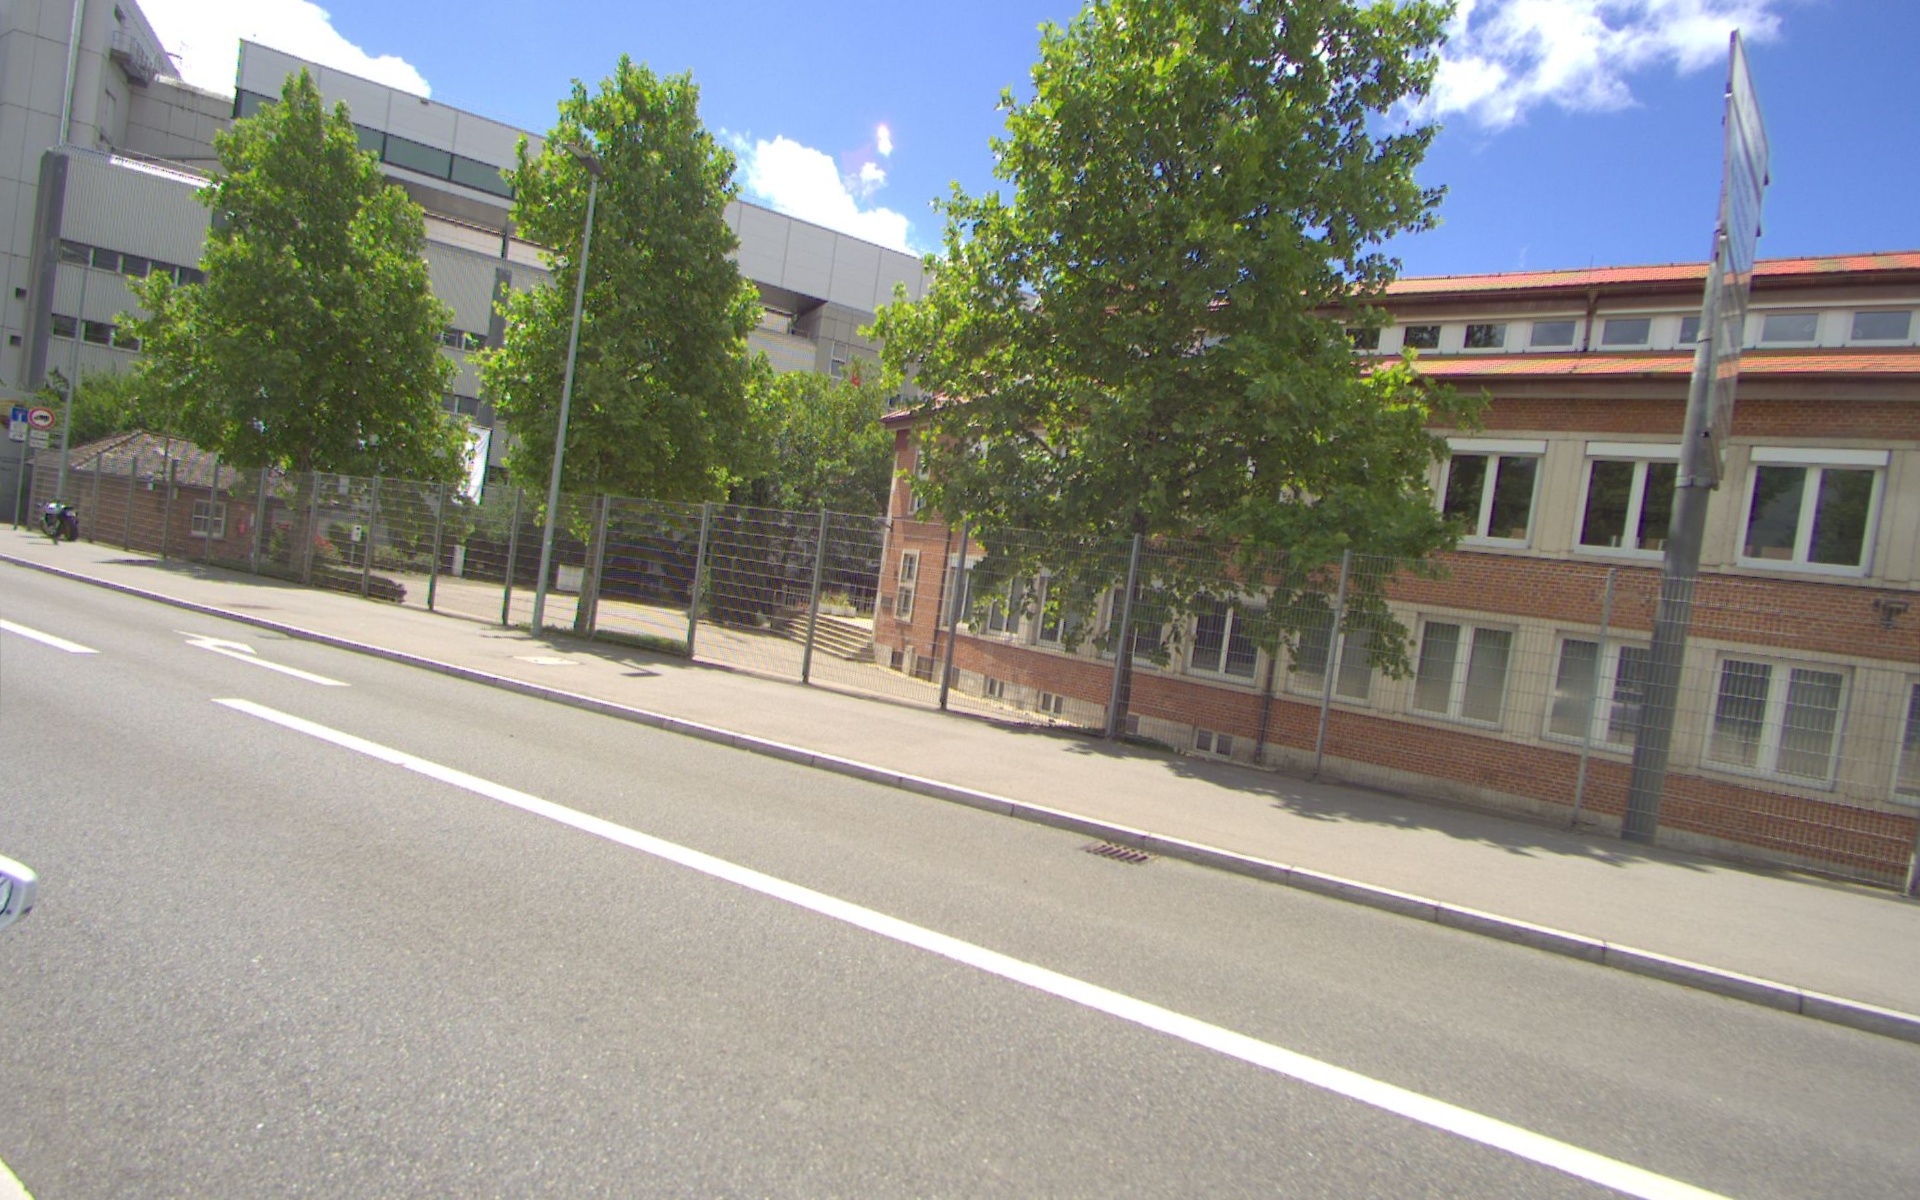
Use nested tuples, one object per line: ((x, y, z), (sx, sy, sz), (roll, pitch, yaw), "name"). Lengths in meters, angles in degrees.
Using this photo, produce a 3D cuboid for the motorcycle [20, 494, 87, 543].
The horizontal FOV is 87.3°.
((-25.879, -2.328, 28.705), (2.110, 1.173, 0.693), (7, 2, 28), "motorcycle")
